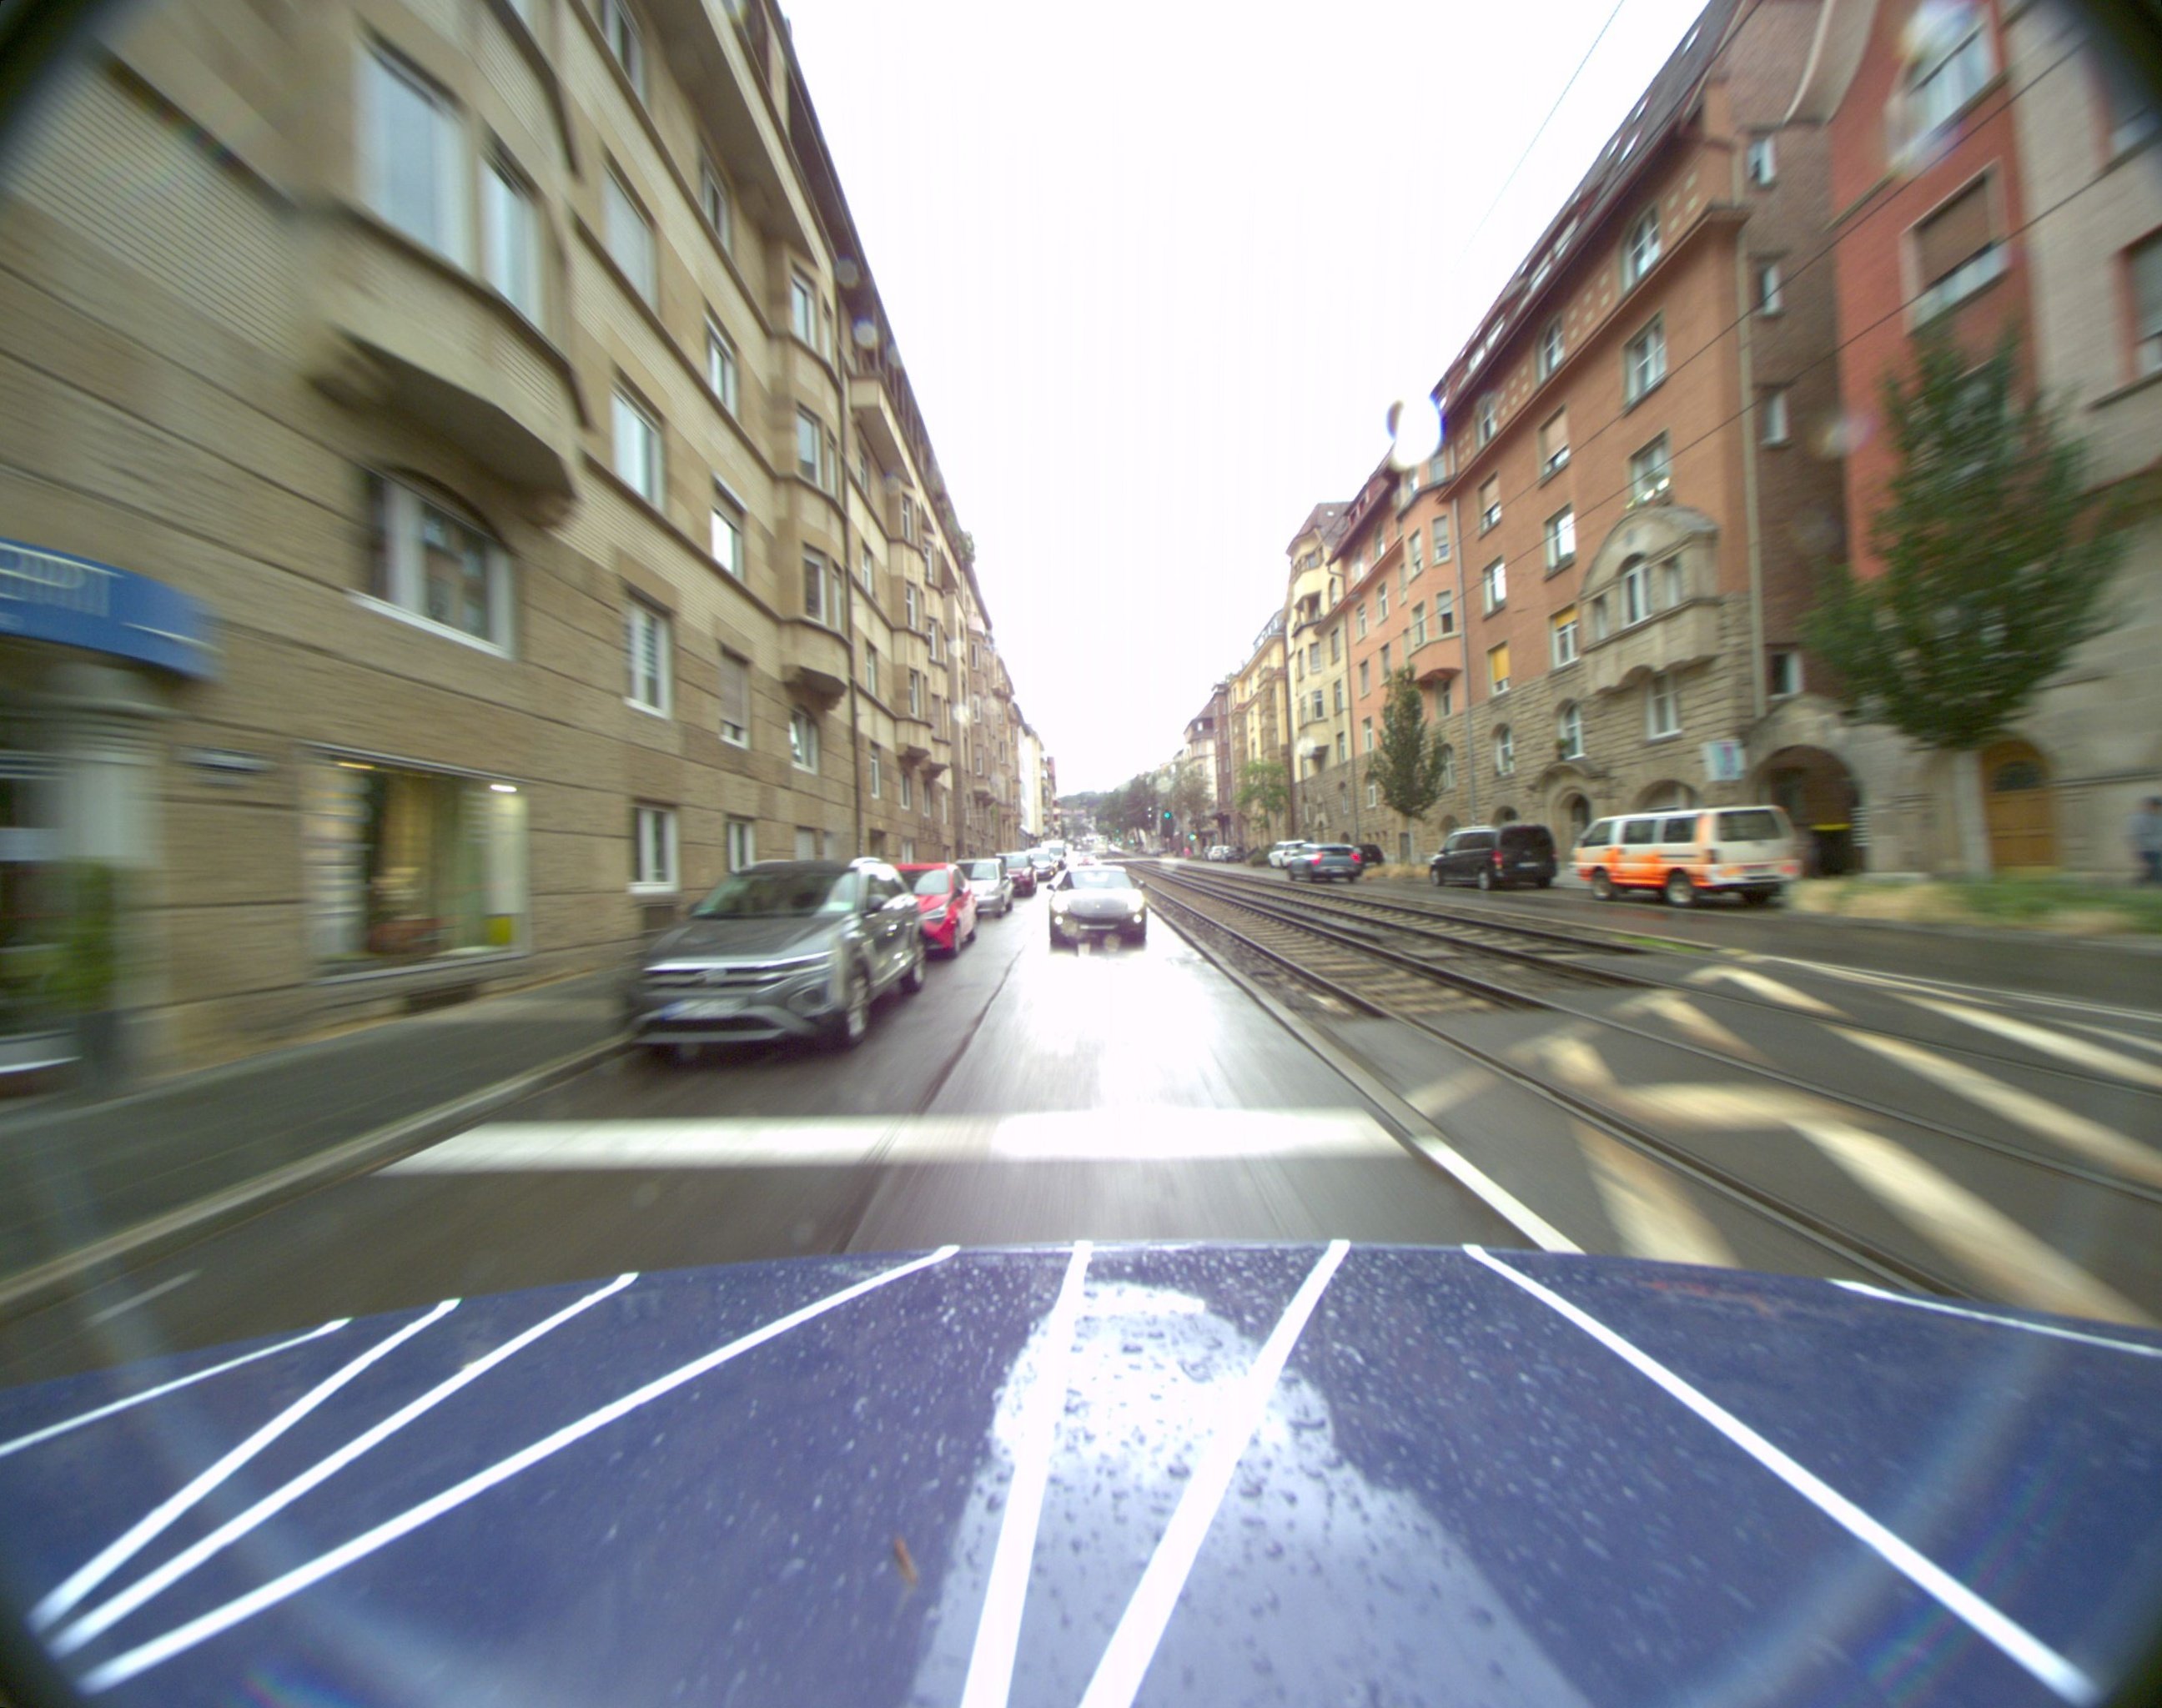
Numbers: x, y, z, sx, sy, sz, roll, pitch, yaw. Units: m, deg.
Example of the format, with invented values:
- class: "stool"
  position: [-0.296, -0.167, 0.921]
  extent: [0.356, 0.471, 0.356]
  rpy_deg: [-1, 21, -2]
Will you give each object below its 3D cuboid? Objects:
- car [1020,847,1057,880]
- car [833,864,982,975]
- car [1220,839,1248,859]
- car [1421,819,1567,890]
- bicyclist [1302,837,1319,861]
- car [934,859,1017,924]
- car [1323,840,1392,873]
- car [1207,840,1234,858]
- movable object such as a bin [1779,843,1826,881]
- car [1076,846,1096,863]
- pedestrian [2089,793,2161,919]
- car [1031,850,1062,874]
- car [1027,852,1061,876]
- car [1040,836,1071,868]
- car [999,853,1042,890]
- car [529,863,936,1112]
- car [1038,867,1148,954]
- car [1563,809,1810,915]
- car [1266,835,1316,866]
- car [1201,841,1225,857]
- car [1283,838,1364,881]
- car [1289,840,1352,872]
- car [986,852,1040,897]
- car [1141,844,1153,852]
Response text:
- class: "car"
  position: [-2.425, 0.499, 44.342]
  extent: [1.811, 1.759, 3.962]
  rpy_deg: [-2, 1, 1]
- class: "car"
  position: [-2.749, 0.972, 12.788]
  extent: [1.710, 1.445, 3.532]
  rpy_deg: [-3, 1, -2]
- class: "car"
  position: [13.067, -0.467, 65.029]
  extent: [1.717, 1.474, 3.712]
  rpy_deg: [-5, 1, 2]
- class: "car"
  position: [12.636, -0.025, 23.665]
  extent: [1.910, 1.919, 4.831]
  rpy_deg: [-2, 1, 0]
- class: "bicyclist"
  position: [15.640, -0.370, 51.804]
  extent: [0.894, 1.592, 0.774]
  rpy_deg: [-2, 2, 1]
- class: "car"
  position: [-2.703, 0.918, 20.147]
  extent: [1.598, 1.478, 3.522]
  rpy_deg: [-1, 1, 1]
- class: "car"
  position: [12.943, 0.081, 35.809]
  extent: [1.760, 1.396, 3.693]
  rpy_deg: [-4, 1, -2]
- class: "car"
  position: [12.979, -0.516, 70.896]
  extent: [1.759, 1.443, 4.043]
  rpy_deg: [-5, 1, 2]
- class: "movable object such as a bin"
  position: [17.589, 0.191, 18.536]
  extent: [0.547, 0.893, 0.656]
  rpy_deg: [-2, 1, 4]
- class: "car"
  position: [0.467, 0.069, 71.207]
  extent: [1.793, 1.459, 4.257]
  rpy_deg: [-2, 1, 1]
- class: "pedestrian"
  position: [15.377, 0.018, 10.818]
  extent: [0.718, 1.710, 0.892]
  rpy_deg: [-7, 1, 1]
- class: "car"
  position: [-2.435, 0.555, 54.280]
  extent: [1.935, 1.516, 4.058]
  rpy_deg: [-3, 1, 1]
- class: "car"
  position: [-2.377, 0.643, 49.614]
  extent: [1.931, 1.380, 3.981]
  rpy_deg: [-3, 1, 1]
- class: "car"
  position: [-2.121, -0.166, 65.316]
  extent: [1.991, 2.520, 6.154]
  rpy_deg: [-3, 1, 3]
- class: "car"
  position: [-2.697, 0.761, 34.385]
  extent: [1.632, 1.502, 3.531]
  rpy_deg: [-3, 1, 0]
- class: "car"
  position: [-2.763, 0.940, 7.190]
  extent: [1.872, 1.540, 3.990]
  rpy_deg: [-3, 1, 1]
- class: "car"
  position: [0.227, 0.928, 14.104]
  extent: [1.737, 1.262, 4.258]
  rpy_deg: [0, 0, 1]
- class: "car"
  position: [12.687, 0.118, 16.375]
  extent: [1.733, 1.919, 4.475]
  rpy_deg: [-2, 1, -1]
- class: "car"
  position: [12.751, -0.247, 46.375]
  extent: [1.759, 1.663, 4.259]
  rpy_deg: [-5, 1, 0]
- class: "car"
  position: [13.170, -0.555, 75.724]
  extent: [1.759, 1.419, 3.712]
  rpy_deg: [-5, 1, 2]
- class: "car"
  position: [9.808, 0.175, 31.094]
  extent: [1.926, 1.608, 4.127]
  rpy_deg: [-2, 1, -1]
- class: "car"
  position: [12.721, 0.069, 40.717]
  extent: [1.760, 1.482, 4.596]
  rpy_deg: [-4, 1, -1]
- class: "car"
  position: [-2.562, 0.734, 29.491]
  extent: [1.774, 1.592, 3.999]
  rpy_deg: [-1, 1, -1]
- class: "car"
  position: [12.188, -1.178, 141.177]
  extent: [1.794, 1.339, 4.257]
  rpy_deg: [-2, 1, 0]
